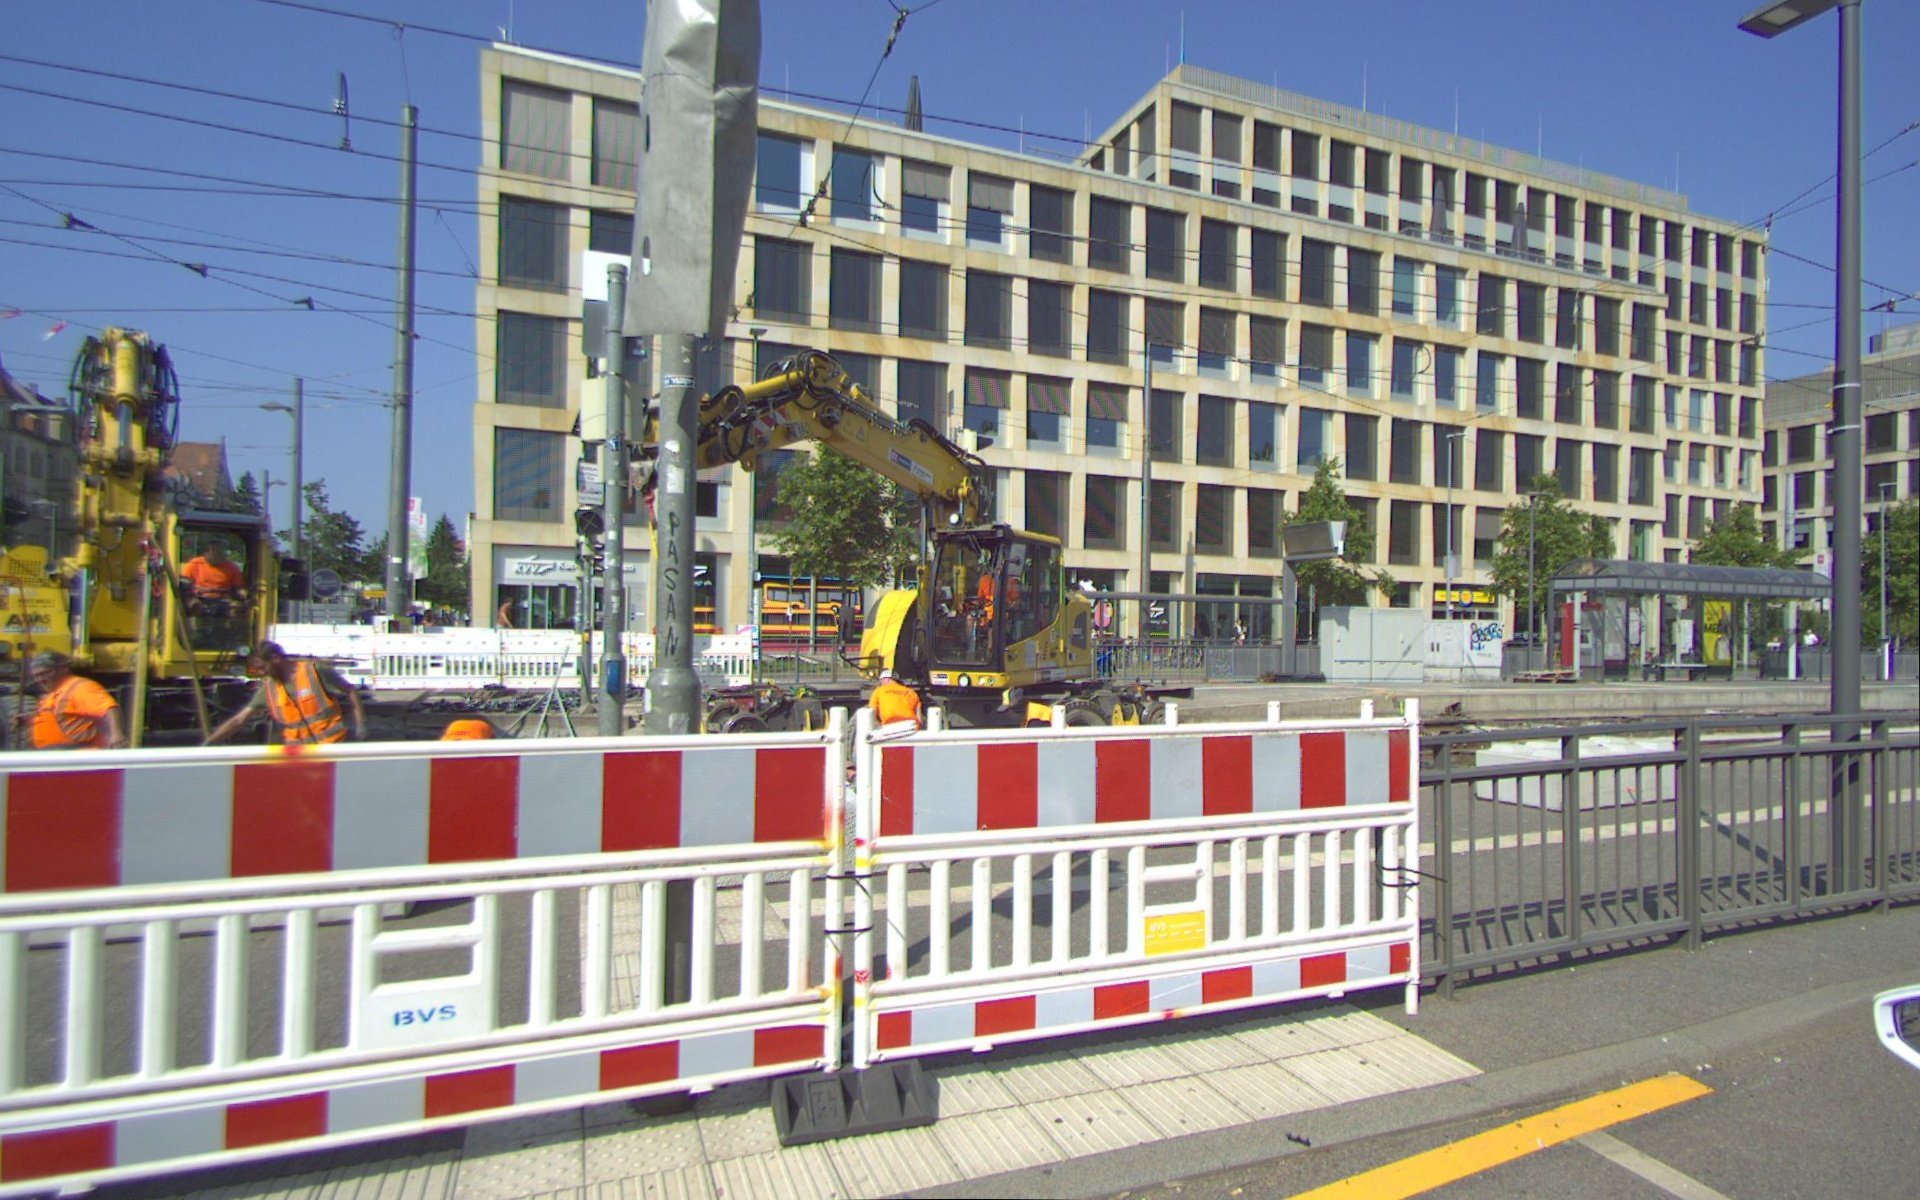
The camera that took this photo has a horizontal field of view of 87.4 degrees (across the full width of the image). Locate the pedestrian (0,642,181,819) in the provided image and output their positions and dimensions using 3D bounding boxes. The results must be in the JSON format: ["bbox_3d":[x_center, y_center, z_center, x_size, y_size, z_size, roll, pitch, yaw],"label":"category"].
[{"bbox_3d":[-6.264,0.913,7.263,0.688,1.193,0.703,1,-1,-1],"label":"pedestrian"}]

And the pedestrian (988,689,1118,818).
[{"bbox_3d":[0.773,1.261,8.465,0.869,0.967,0.700,1,-1,-21],"label":"pedestrian"}]

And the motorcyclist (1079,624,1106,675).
[{"bbox_3d":[3.141,1.179,23.803,0.508,1.194,0.429,2,-5,-17],"label":"motorcyclist"}]

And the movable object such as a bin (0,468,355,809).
[{"bbox_3d":[-9.489,0.420,11.951,3.535,3.265,4.083,2,-2,-36],"label":"movable object such as a bin"}]

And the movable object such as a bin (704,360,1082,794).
[{"bbox_3d":[-0.984,-0.181,12.793,4.147,4.614,2.984,1,-1,-19],"label":"movable object such as a bin"}]

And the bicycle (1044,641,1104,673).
[{"bbox_3d":[3.795,1.891,33.760,0.932,0.980,2.425,1,-2,-23],"label":"bicycle"}]

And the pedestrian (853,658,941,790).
[{"bbox_3d":[-0.592,1.152,9.593,0.577,1.170,0.703,0,-1,23],"label":"pedestrian"}]

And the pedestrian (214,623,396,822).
[{"bbox_3d":[-4.691,0.850,7.246,0.820,1.353,0.703,1,-1,-1],"label":"pedestrian"}]

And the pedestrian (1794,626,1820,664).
[{"bbox_3d":[45.549,2.427,54.017,0.828,1.941,0.790,3,-5,-27],"label":"pedestrian"}]

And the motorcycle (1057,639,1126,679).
[{"bbox_3d":[3.118,1.410,23.815,1.608,0.889,0.429,3,-5,-17],"label":"motorcycle"}]
